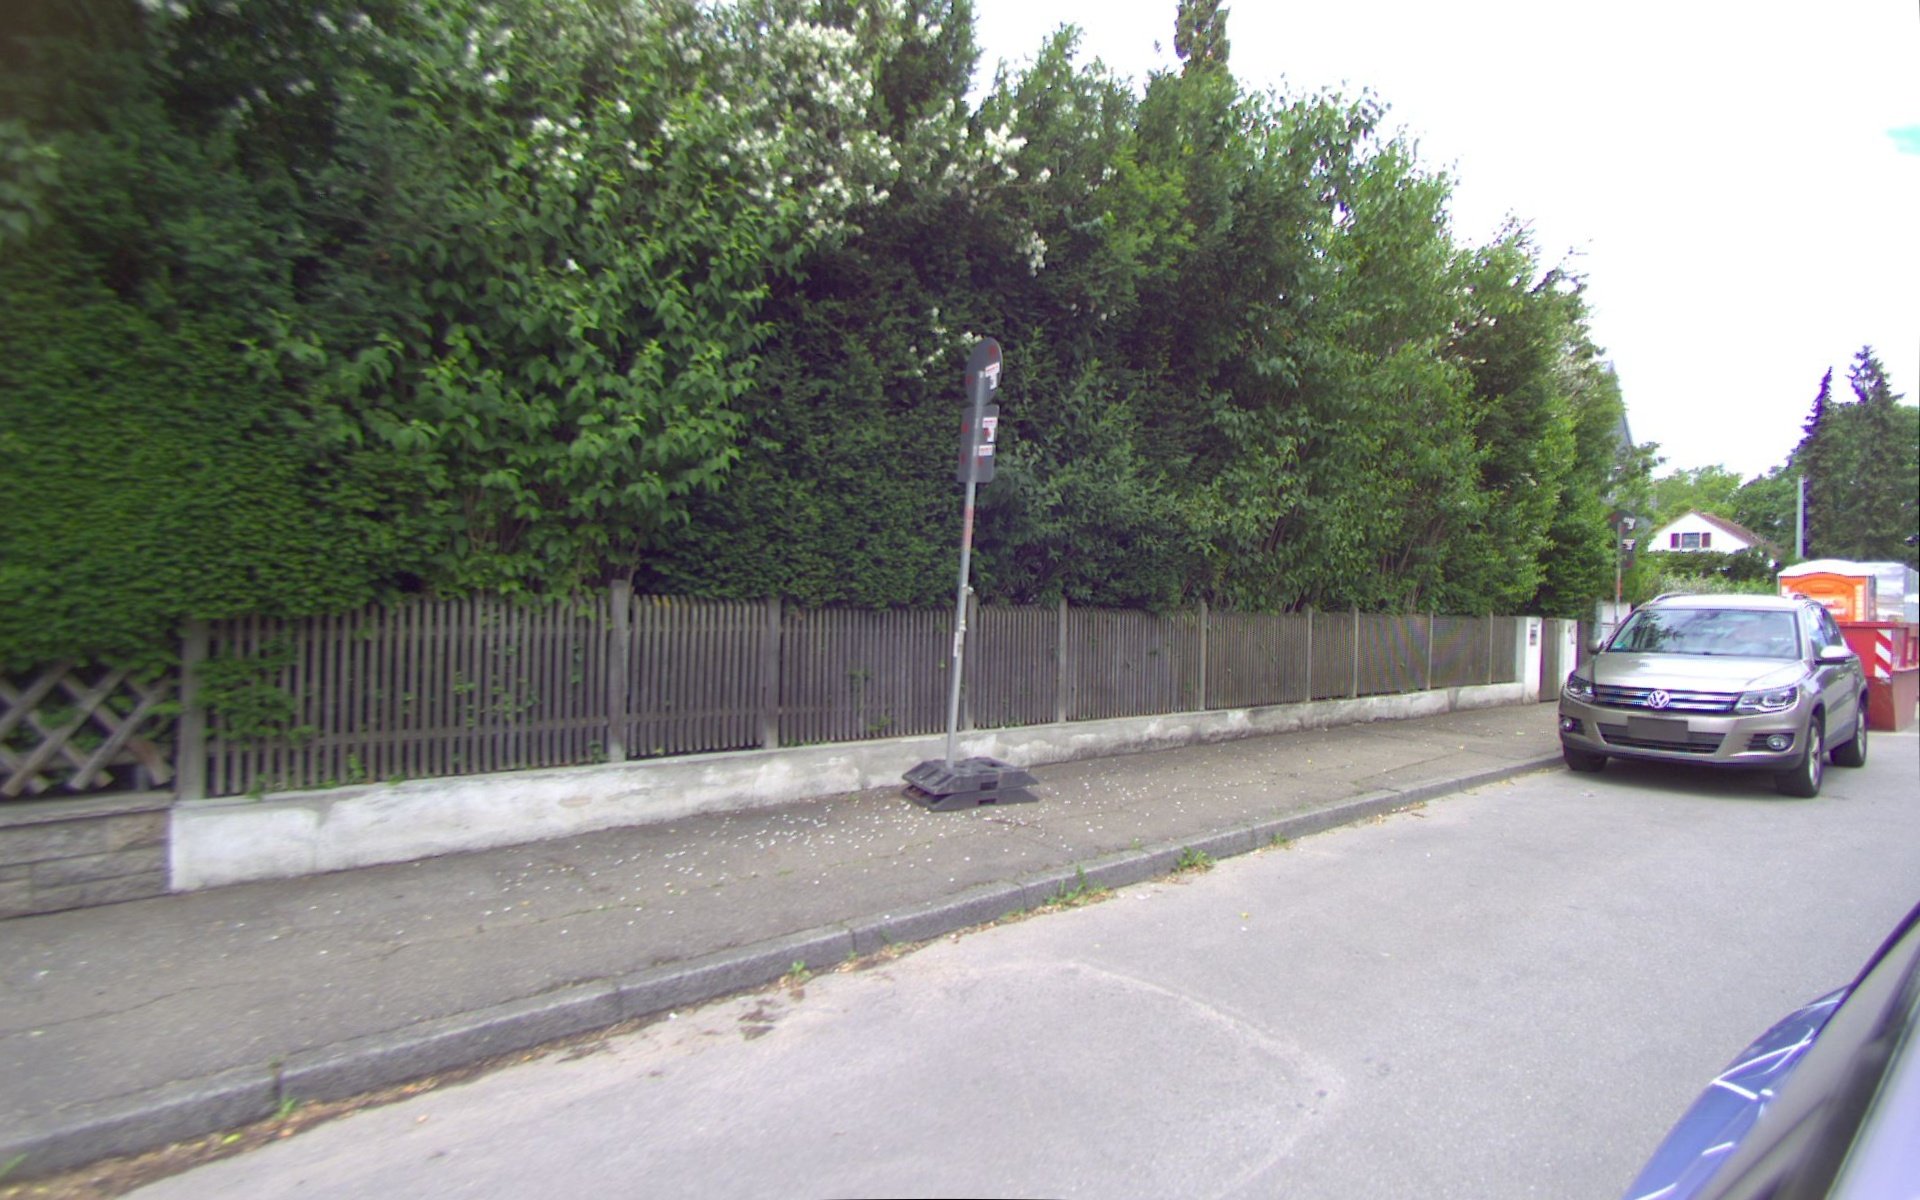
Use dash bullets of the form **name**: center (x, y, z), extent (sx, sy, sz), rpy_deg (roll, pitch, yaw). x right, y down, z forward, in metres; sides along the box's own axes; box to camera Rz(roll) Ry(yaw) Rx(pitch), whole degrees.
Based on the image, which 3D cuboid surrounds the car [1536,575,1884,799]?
- **car**: center (7.182, 0.666, 9.538), extent (4.054, 1.653, 1.876), rpy_deg (1, -1, -42)

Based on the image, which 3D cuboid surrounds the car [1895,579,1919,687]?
- **car**: center (22.429, 0.674, 22.567), extent (5.276, 2.252, 1.851), rpy_deg (0, -1, -43)
